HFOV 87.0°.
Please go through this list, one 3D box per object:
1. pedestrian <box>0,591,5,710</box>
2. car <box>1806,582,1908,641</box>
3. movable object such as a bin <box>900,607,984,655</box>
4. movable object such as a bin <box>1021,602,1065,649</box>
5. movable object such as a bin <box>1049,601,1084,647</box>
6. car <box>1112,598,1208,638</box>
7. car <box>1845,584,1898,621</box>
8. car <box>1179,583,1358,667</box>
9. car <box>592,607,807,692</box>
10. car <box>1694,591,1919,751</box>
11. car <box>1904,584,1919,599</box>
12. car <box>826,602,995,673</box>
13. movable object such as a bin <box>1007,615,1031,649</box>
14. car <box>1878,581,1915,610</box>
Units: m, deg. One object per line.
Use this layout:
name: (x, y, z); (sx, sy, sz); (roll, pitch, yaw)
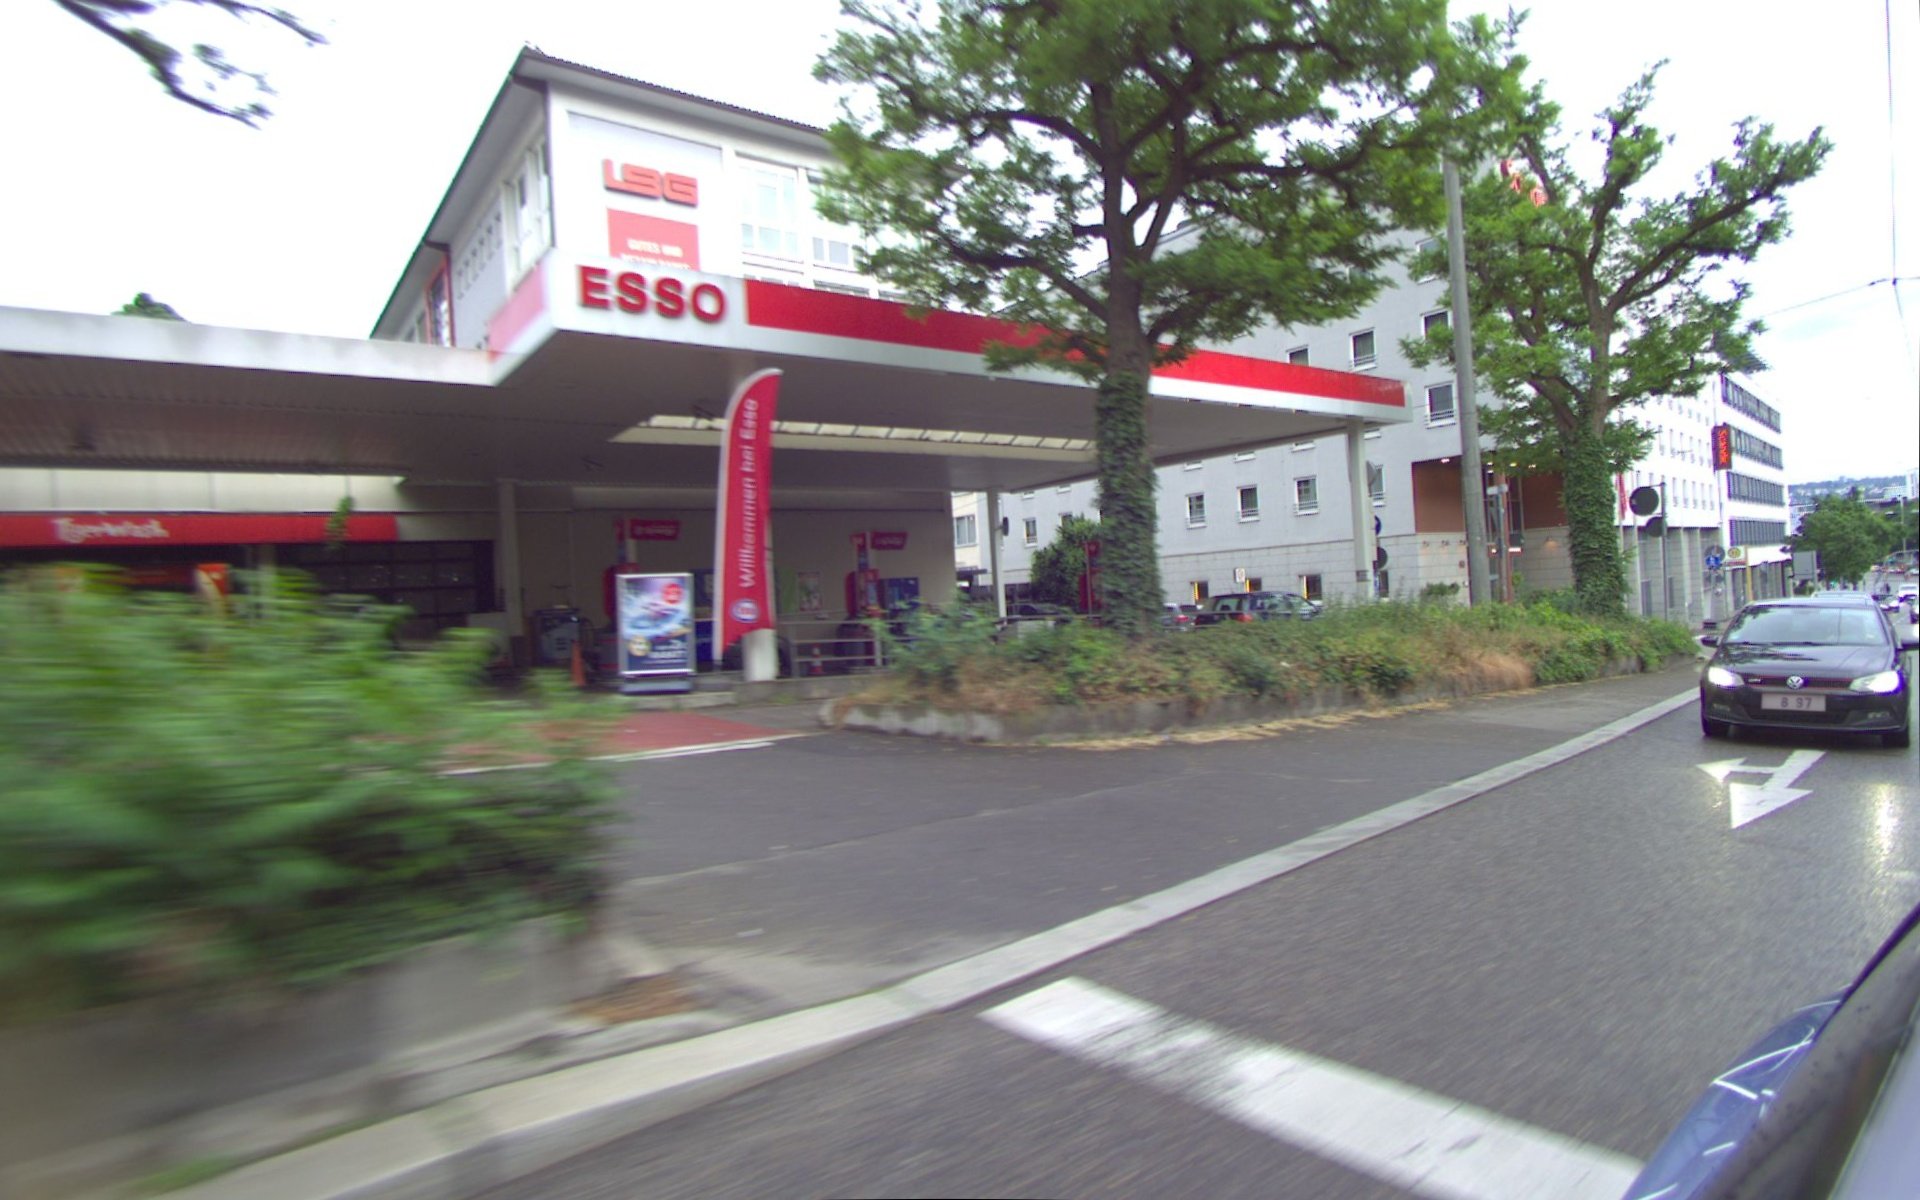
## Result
pedestrian: (-15.643, 0.820, 15.890); (0.677, 1.895, 0.669); (-5, -3, 14)
car: (24.646, 0.290, 27.779); (3.645, 1.459, 1.748); (-2, 1, -43)
movable object such as a bin: (-0.565, 0.985, 32.460); (2.462, 1.444, 1.165); (-1, -2, -38)
movable object such as a bin: (2.871, 0.877, 35.059); (1.336, 1.586, 0.765); (0, -2, -38)
movable object such as a bin: (3.757, 0.862, 35.757); (0.897, 1.586, 0.765); (0, -2, -38)
car: (8.826, 0.808, 44.893); (1.766, 1.530, 3.997); (0, -4, -36)
car: (47.952, 0.114, 53.222); (1.794, 1.688, 3.936); (-6, -3, 45)
car: (6.787, 0.496, 22.170); (3.793, 1.644, 1.778); (-2, 0, -35)
car: (-5.681, 1.065, 22.251); (4.155, 1.530, 1.798); (-2, -3, -38)
car: (9.442, 0.638, 11.066); (3.786, 1.417, 1.674); (-1, 0, -45)
car: (110.057, -1.010, 116.511); (1.792, 1.530, 3.940); (-6, -3, 42)
car: (-1.235, 0.941, 25.852); (3.927, 1.530, 1.798); (-2, -3, -38)
movable object such as a bin: (2.004, 1.097, 34.553); (0.648, 1.155, 0.454); (0, -2, -38)
car: (69.984, -0.363, 75.665); (1.792, 1.970, 3.939); (-6, -3, 42)
